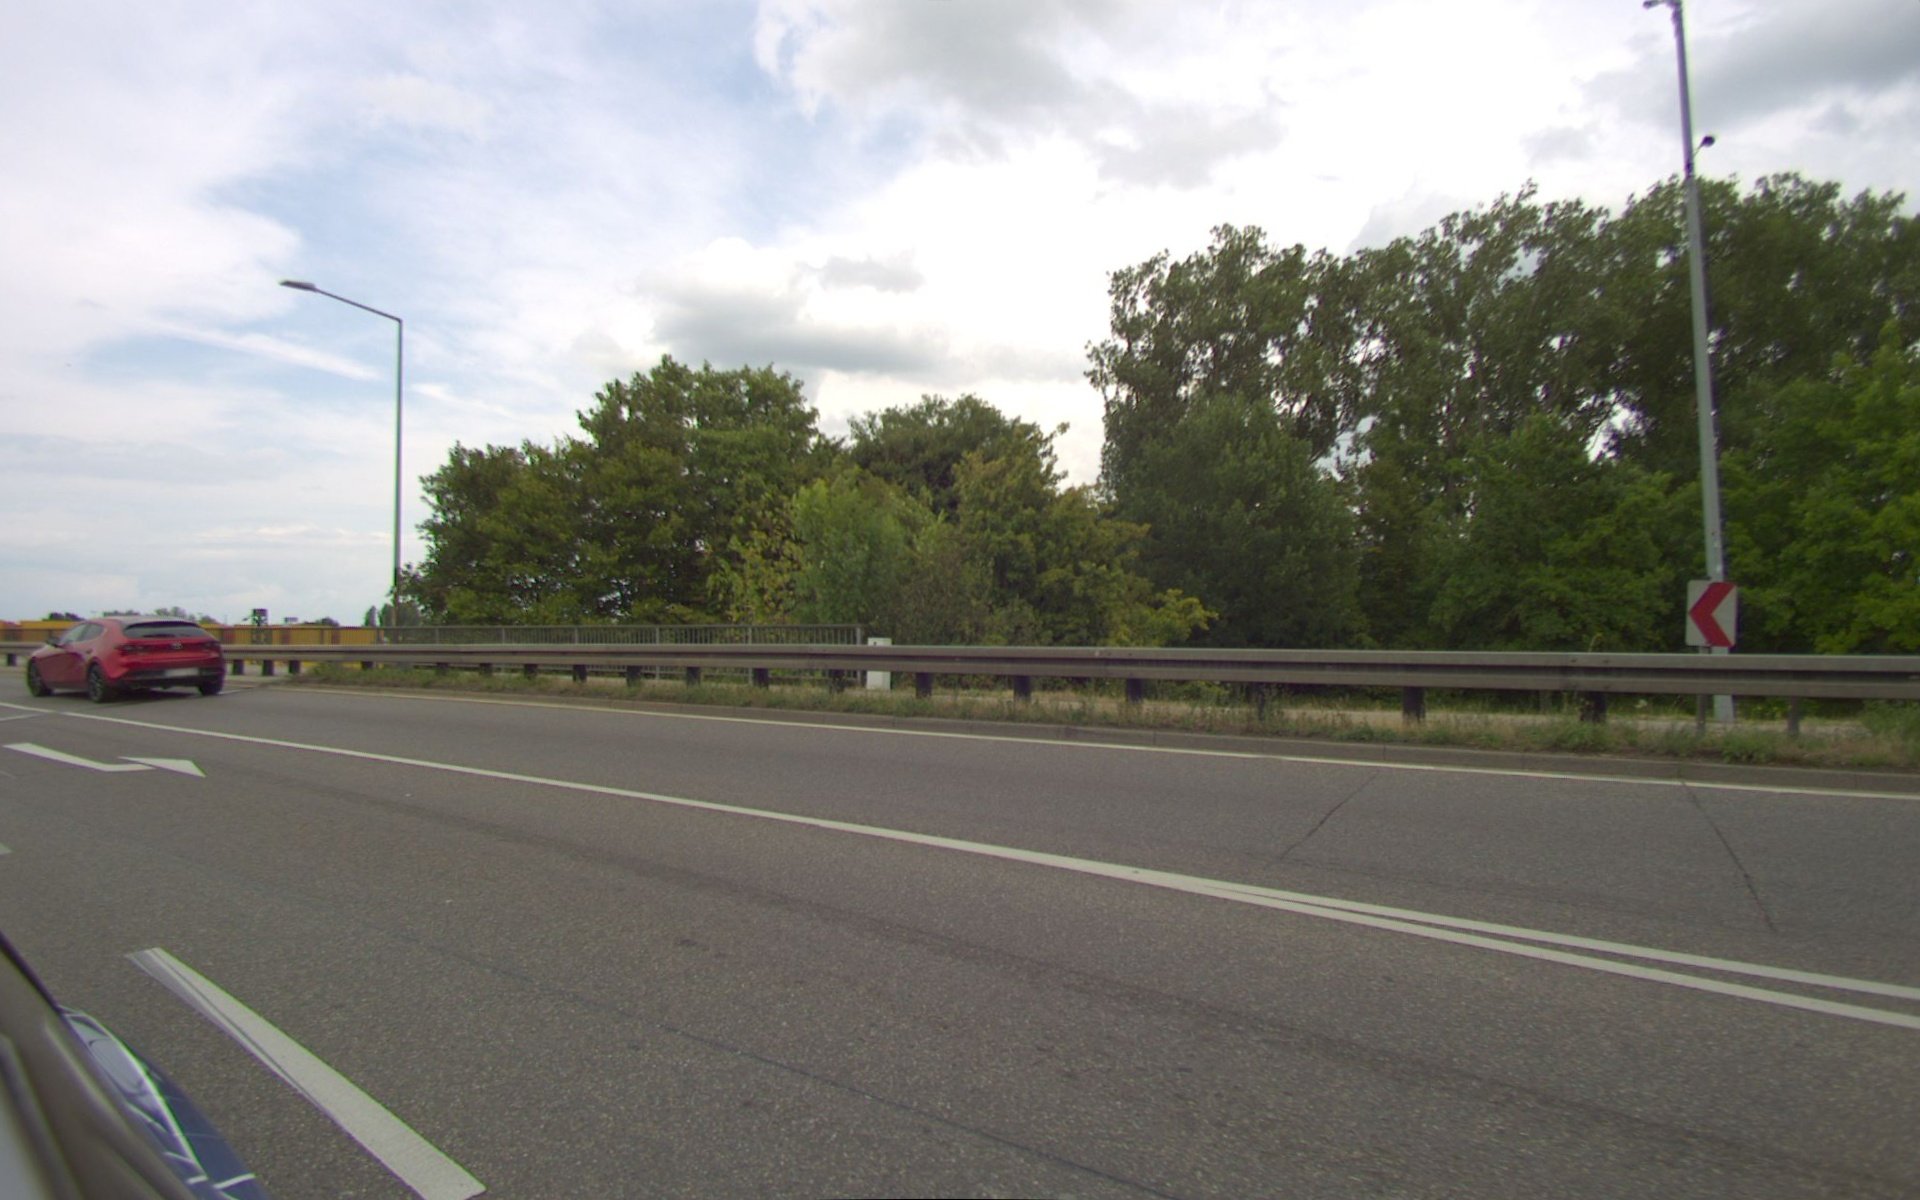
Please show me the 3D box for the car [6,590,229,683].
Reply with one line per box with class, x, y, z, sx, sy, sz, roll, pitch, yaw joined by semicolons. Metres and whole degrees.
car;-15.147;0.600;18.137;4.621;1.483;1.782;0;-1;33
